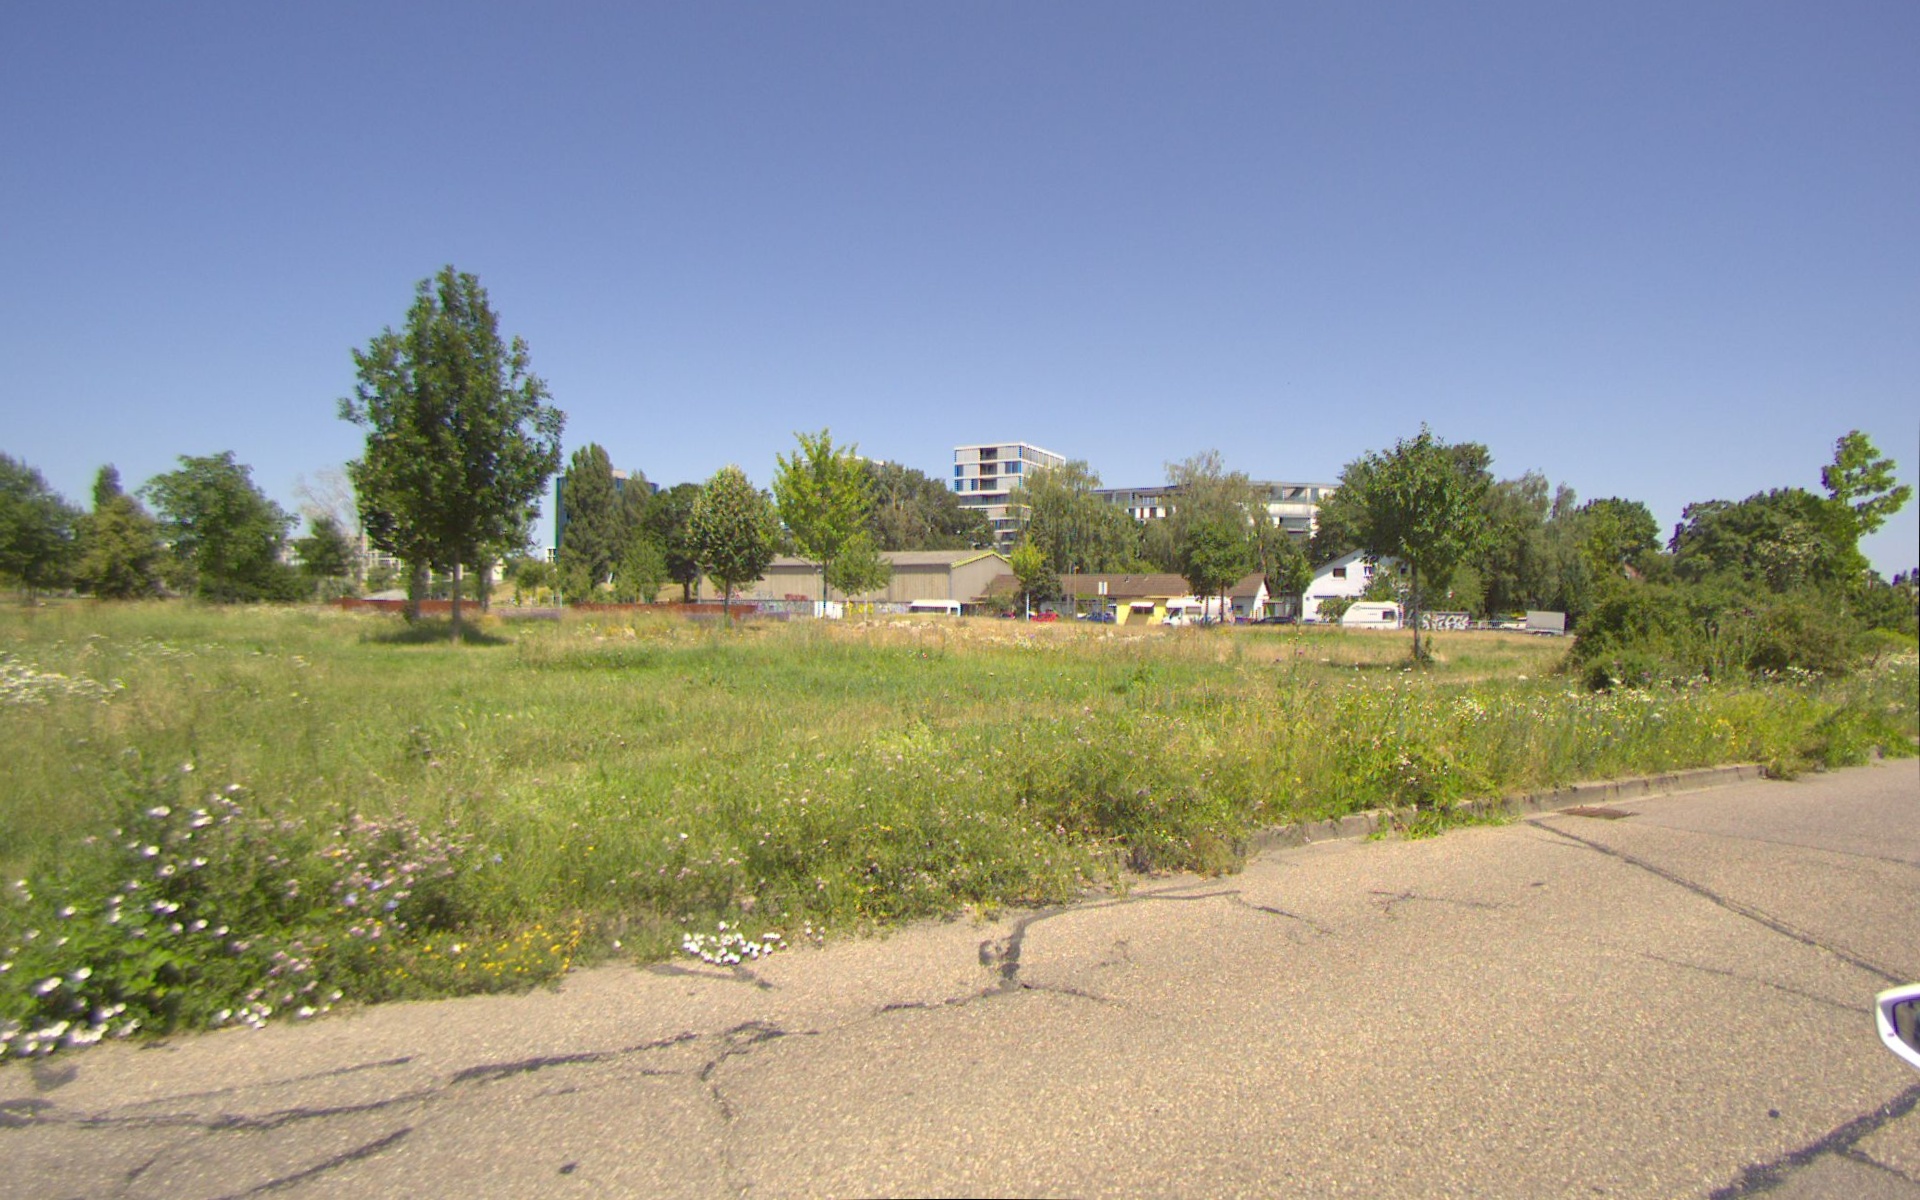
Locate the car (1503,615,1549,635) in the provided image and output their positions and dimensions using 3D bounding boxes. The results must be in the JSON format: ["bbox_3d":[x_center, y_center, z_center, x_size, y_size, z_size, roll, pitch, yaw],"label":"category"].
[{"bbox_3d":[47.334,2.088,83.951,3.287,1.598,1.768,0,-1,32],"label":"car"}]

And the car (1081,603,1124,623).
[{"bbox_3d":[13.038,1.170,91.650,3.514,1.795,1.755,0,0,28],"label":"car"}]

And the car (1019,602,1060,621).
[{"bbox_3d":[7.506,1.100,94.894,3.514,1.795,1.755,0,0,28],"label":"car"}]

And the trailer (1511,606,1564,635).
[{"bbox_3d":[43.243,1.504,75.225,3.364,2.072,1.757,0,-1,31],"label":"trailer"}]

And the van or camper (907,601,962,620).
[{"bbox_3d":[-2.541,1.046,100.167,4.966,1.905,2.355,0,-1,27],"label":"van or camper"}]

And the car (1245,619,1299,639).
[{"bbox_3d":[26.219,2.449,84.409,3.931,1.572,1.910,0,-1,33],"label":"car"}]

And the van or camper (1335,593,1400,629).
[{"bbox_3d":[32.806,0.878,80.869,4.387,2.626,2.487,3,1,31],"label":"van or camper"}]

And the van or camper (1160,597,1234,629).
[{"bbox_3d":[20.702,1.125,87.688,5.862,2.628,2.468,0,0,29],"label":"van or camper"}]

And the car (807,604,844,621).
[{"bbox_3d":[-14.344,1.353,107.194,3.514,1.795,1.755,0,0,28],"label":"car"}]
